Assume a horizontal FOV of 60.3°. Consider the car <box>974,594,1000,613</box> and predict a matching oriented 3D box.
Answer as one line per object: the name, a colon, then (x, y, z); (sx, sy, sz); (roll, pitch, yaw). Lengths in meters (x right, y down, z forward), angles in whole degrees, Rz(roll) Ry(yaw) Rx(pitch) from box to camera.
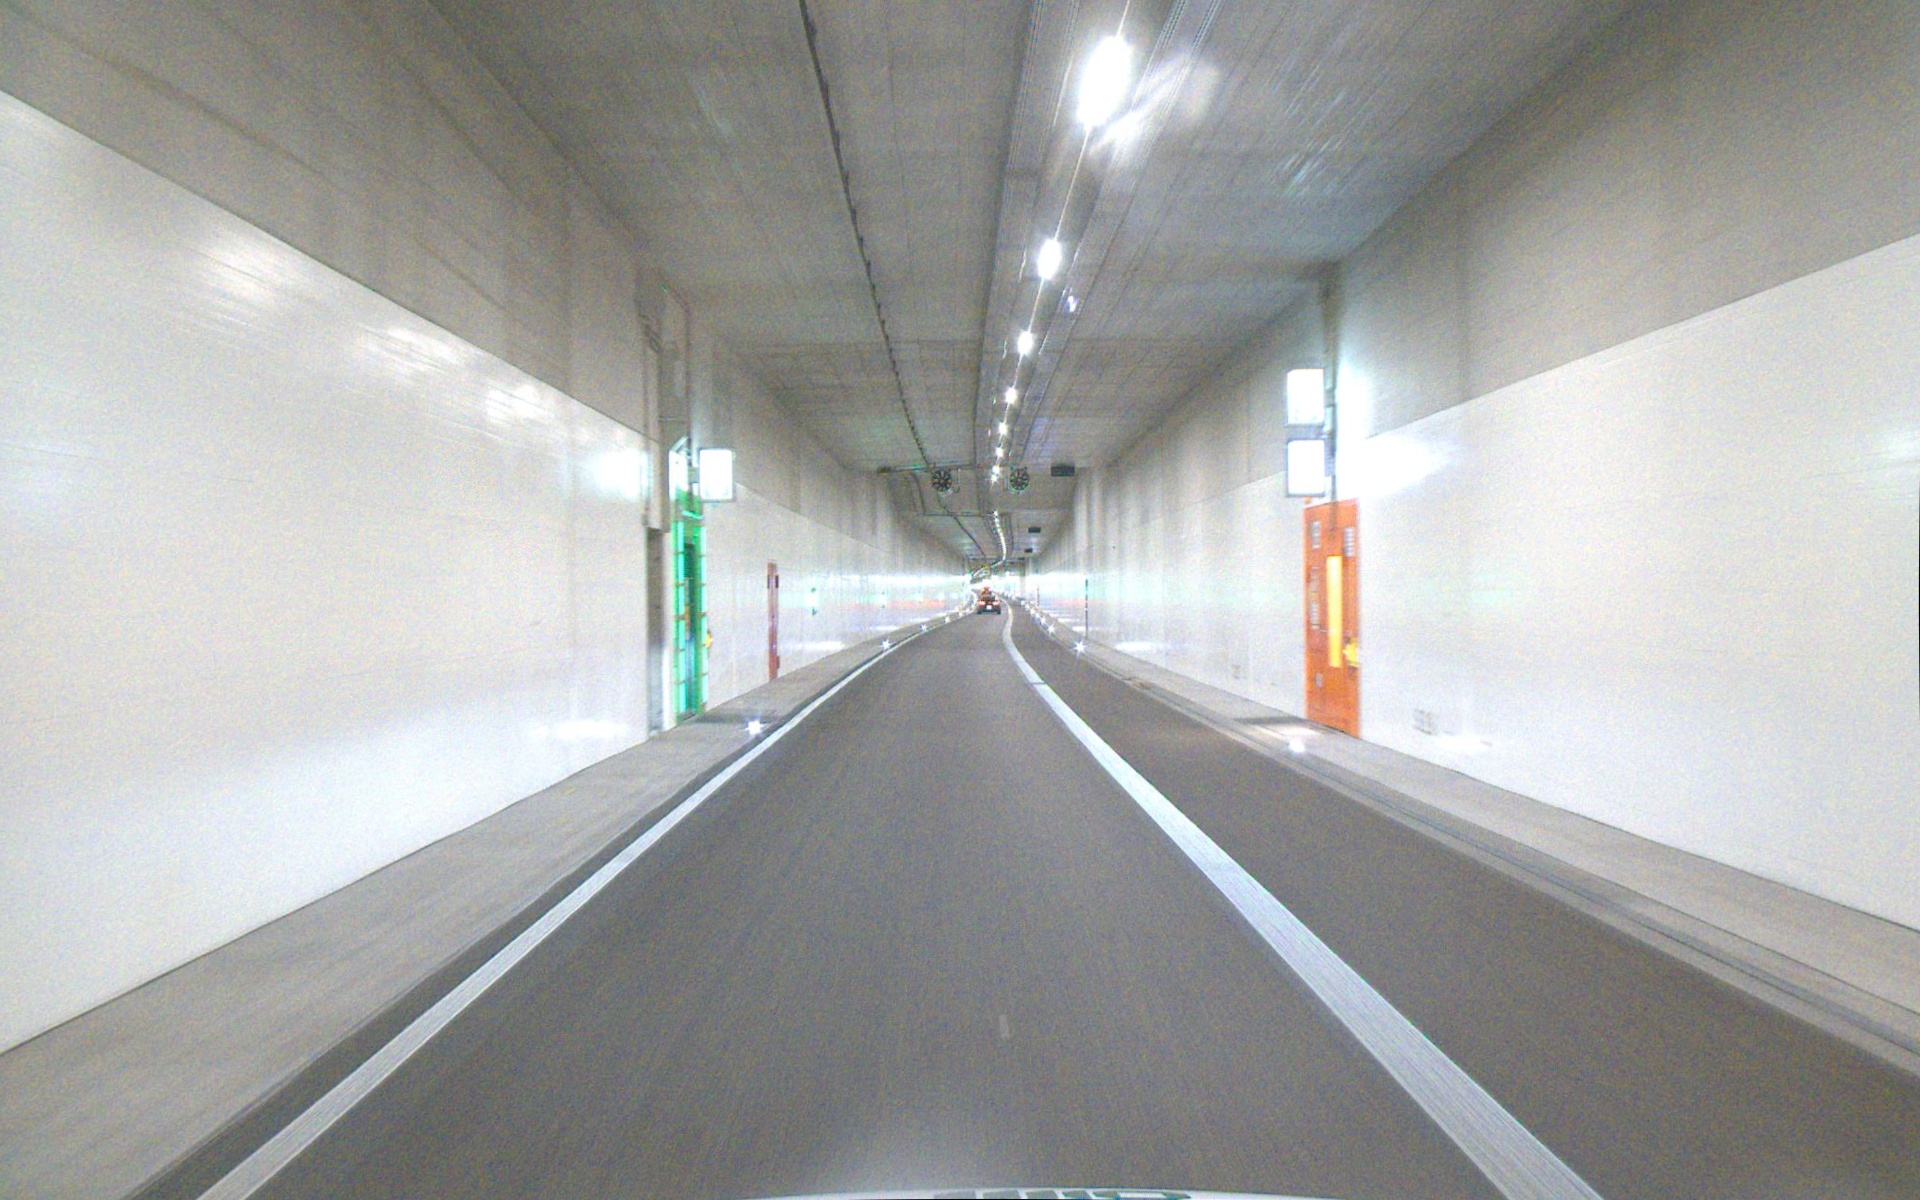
car: (2.140, 0.256, 131.711); (1.953, 1.445, 3.999); (1, 0, -1)
